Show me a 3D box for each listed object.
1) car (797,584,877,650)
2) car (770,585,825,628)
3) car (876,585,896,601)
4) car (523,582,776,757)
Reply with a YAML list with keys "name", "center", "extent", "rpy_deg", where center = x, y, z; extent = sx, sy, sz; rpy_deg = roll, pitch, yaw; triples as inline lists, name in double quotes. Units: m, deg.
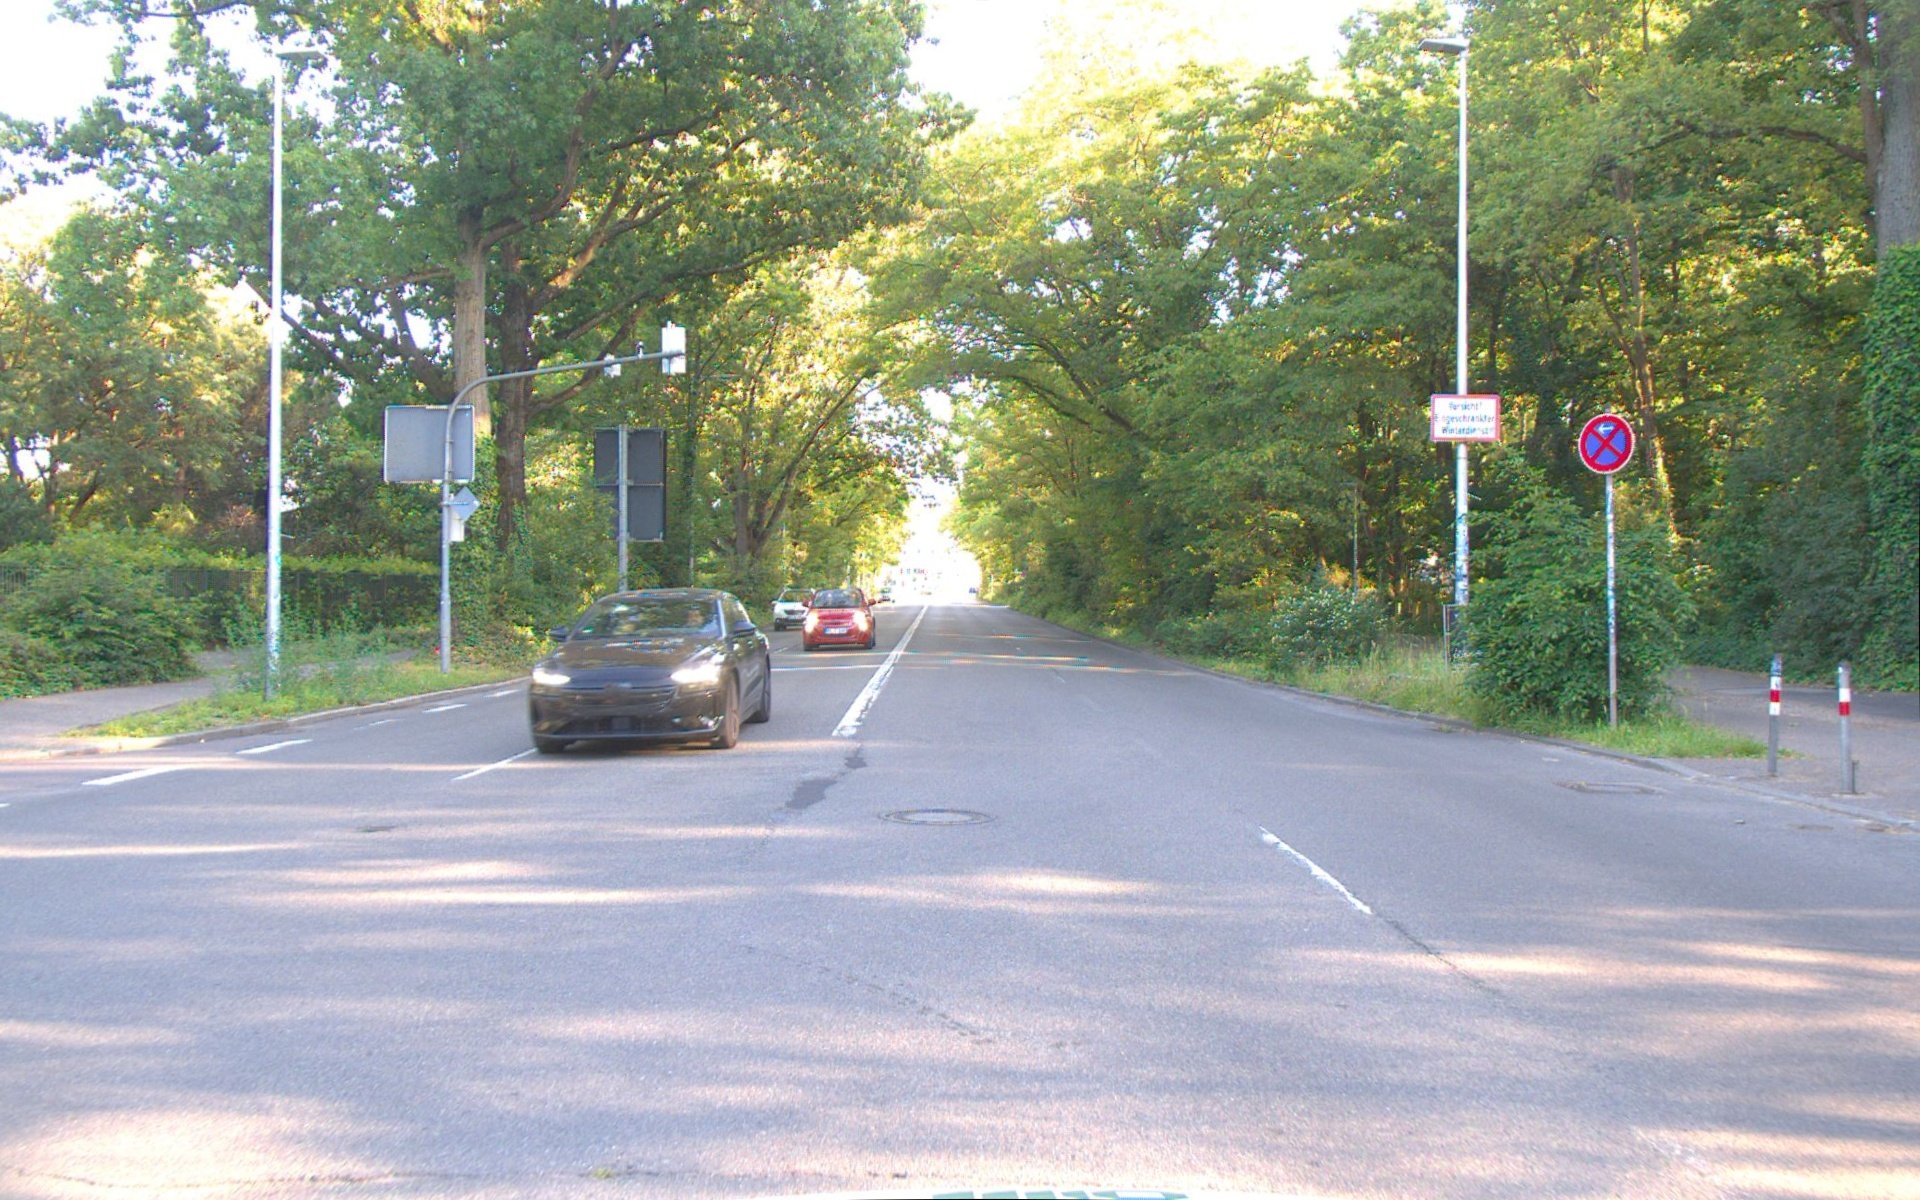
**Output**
- name: "car"
  center: [-3.016, 0.392, 41.266]
  extent: [1.761, 1.533, 4.363]
  rpy_deg: [-1, 0, -2]
- name: "car"
  center: [-6.149, 0.227, 62.904]
  extent: [1.761, 1.533, 4.363]
  rpy_deg: [-1, 0, -2]
- name: "car"
  center: [-7.099, -0.664, 159.105]
  extent: [1.761, 1.533, 4.363]
  rpy_deg: [-1, 0, -2]
- name: "car"
  center: [-2.987, 0.605, 16.819]
  extent: [1.849, 1.533, 4.363]
  rpy_deg: [-1, 0, -2]
